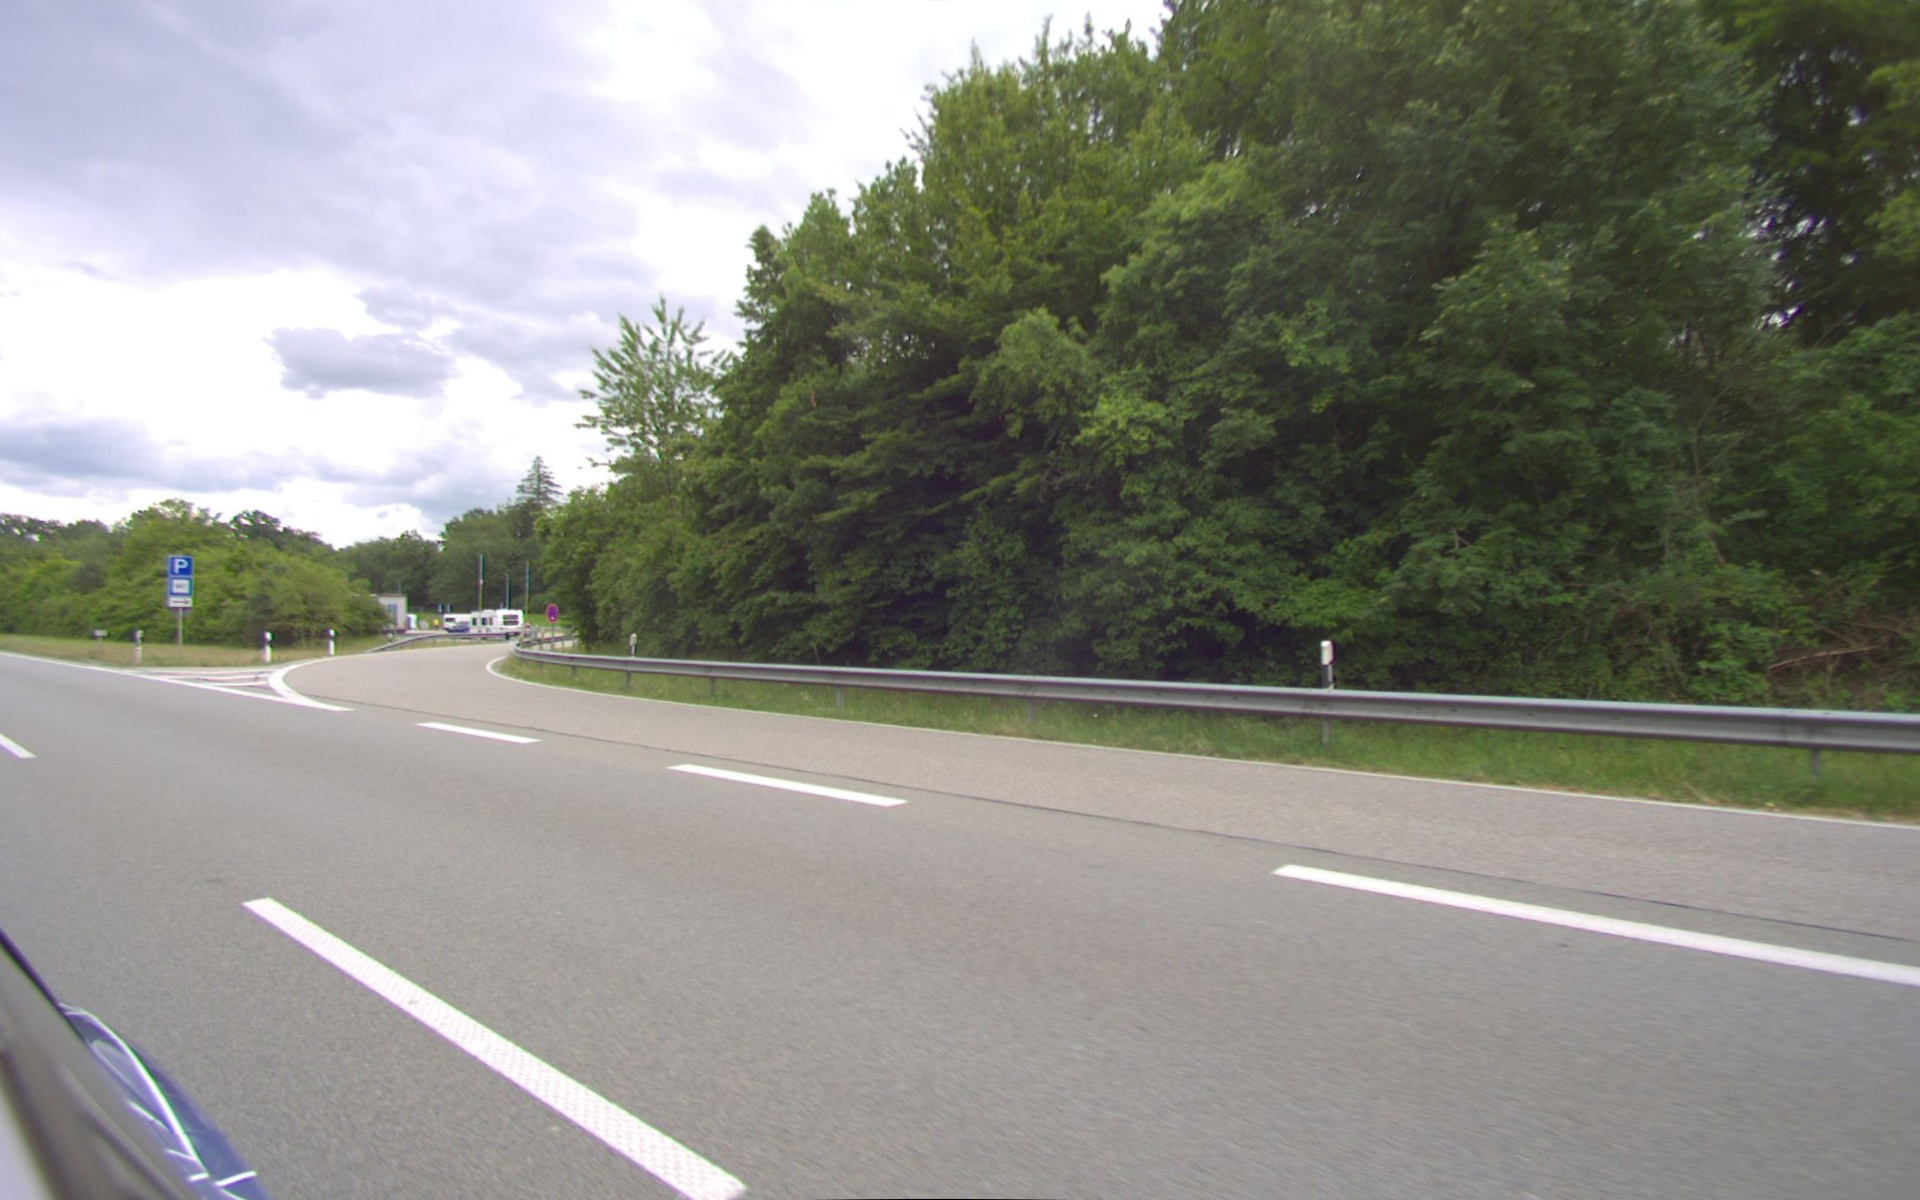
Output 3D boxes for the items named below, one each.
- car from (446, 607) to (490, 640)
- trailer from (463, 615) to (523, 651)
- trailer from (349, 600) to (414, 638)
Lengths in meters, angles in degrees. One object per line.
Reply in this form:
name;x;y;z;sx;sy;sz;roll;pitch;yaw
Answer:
car;-45.785;2.150;94.130;2.371;2.984;4.603;0;-1;-45
trailer;-41.506;2.896;89.749;2.451;2.987;7.398;0;-1;-45
trailer;-51.332;1.653;89.827;1.999;3.277;4.628;-1;-1;40
